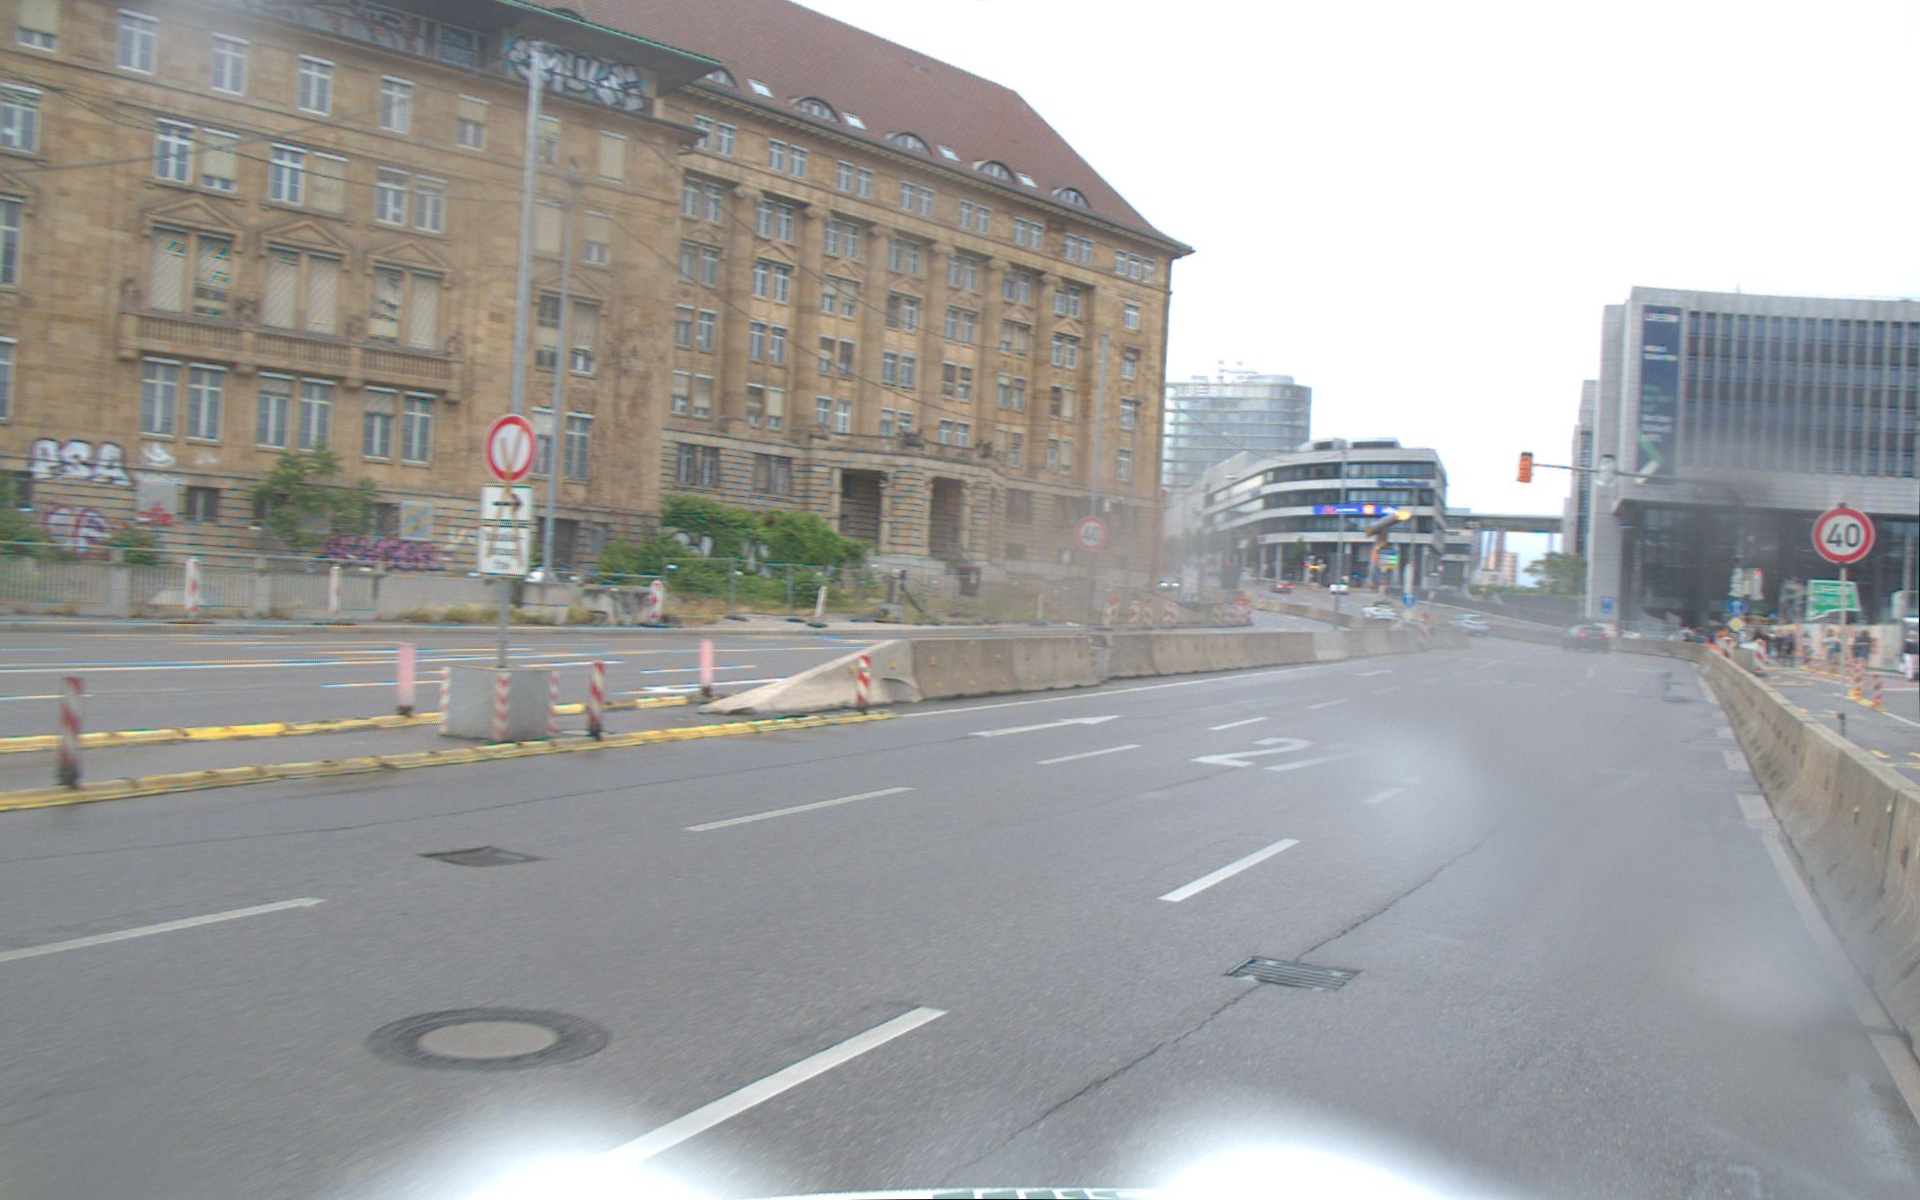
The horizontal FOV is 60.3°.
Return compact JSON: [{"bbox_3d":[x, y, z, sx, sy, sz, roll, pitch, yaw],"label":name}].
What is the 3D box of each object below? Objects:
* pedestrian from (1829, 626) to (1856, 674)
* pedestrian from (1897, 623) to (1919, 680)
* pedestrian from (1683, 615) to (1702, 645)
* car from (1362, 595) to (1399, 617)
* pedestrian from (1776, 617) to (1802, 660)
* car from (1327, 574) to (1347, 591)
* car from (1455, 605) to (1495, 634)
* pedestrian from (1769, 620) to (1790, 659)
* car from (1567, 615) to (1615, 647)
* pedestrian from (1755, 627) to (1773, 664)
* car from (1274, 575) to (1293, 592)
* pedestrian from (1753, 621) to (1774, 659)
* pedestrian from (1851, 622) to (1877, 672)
[{"bbox_3d":[35.863,2.021,67.240,0.763,1.894,0.949,3,0,19],"label":"pedestrian"},{"bbox_3d":[32.420,1.741,56.348,0.651,1.894,0.683,3,0,19],"label":"pedestrian"},{"bbox_3d":[41.527,1.686,93.791,0.735,1.670,0.824,2,1,11],"label":"pedestrian"},{"bbox_3d":[32.181,0.442,126.574,1.706,1.532,3.752,3,0,-2],"label":"car"},{"bbox_3d":[37.348,1.720,74.500,0.852,1.894,0.949,3,0,19],"label":"pedestrian"},{"bbox_3d":[44.687,-2.066,195.880,1.951,1.835,4.269,3,1,9],"label":"car"},{"bbox_3d":[35.723,1.332,114.842,1.702,1.908,3.779,2,1,4],"label":"car"},{"bbox_3d":[41.042,1.972,82.788,0.763,1.894,0.812,3,0,19],"label":"pedestrian"},{"bbox_3d":[33.667,1.679,88.351,1.639,1.534,3.748,3,-2,9],"label":"car"},{"bbox_3d":[46.612,2.619,95.875,0.769,2.048,0.861,3,1,29],"label":"pedestrian"},{"bbox_3d":[37.961,-1.940,193.995,1.951,1.835,4.269,3,1,9],"label":"car"},{"bbox_3d":[39.928,1.978,82.194,0.802,1.859,1.111,2,0,20],"label":"pedestrian"},{"bbox_3d":[34.975,1.809,63.961,0.675,1.894,0.812,3,0,19],"label":"pedestrian"}]
